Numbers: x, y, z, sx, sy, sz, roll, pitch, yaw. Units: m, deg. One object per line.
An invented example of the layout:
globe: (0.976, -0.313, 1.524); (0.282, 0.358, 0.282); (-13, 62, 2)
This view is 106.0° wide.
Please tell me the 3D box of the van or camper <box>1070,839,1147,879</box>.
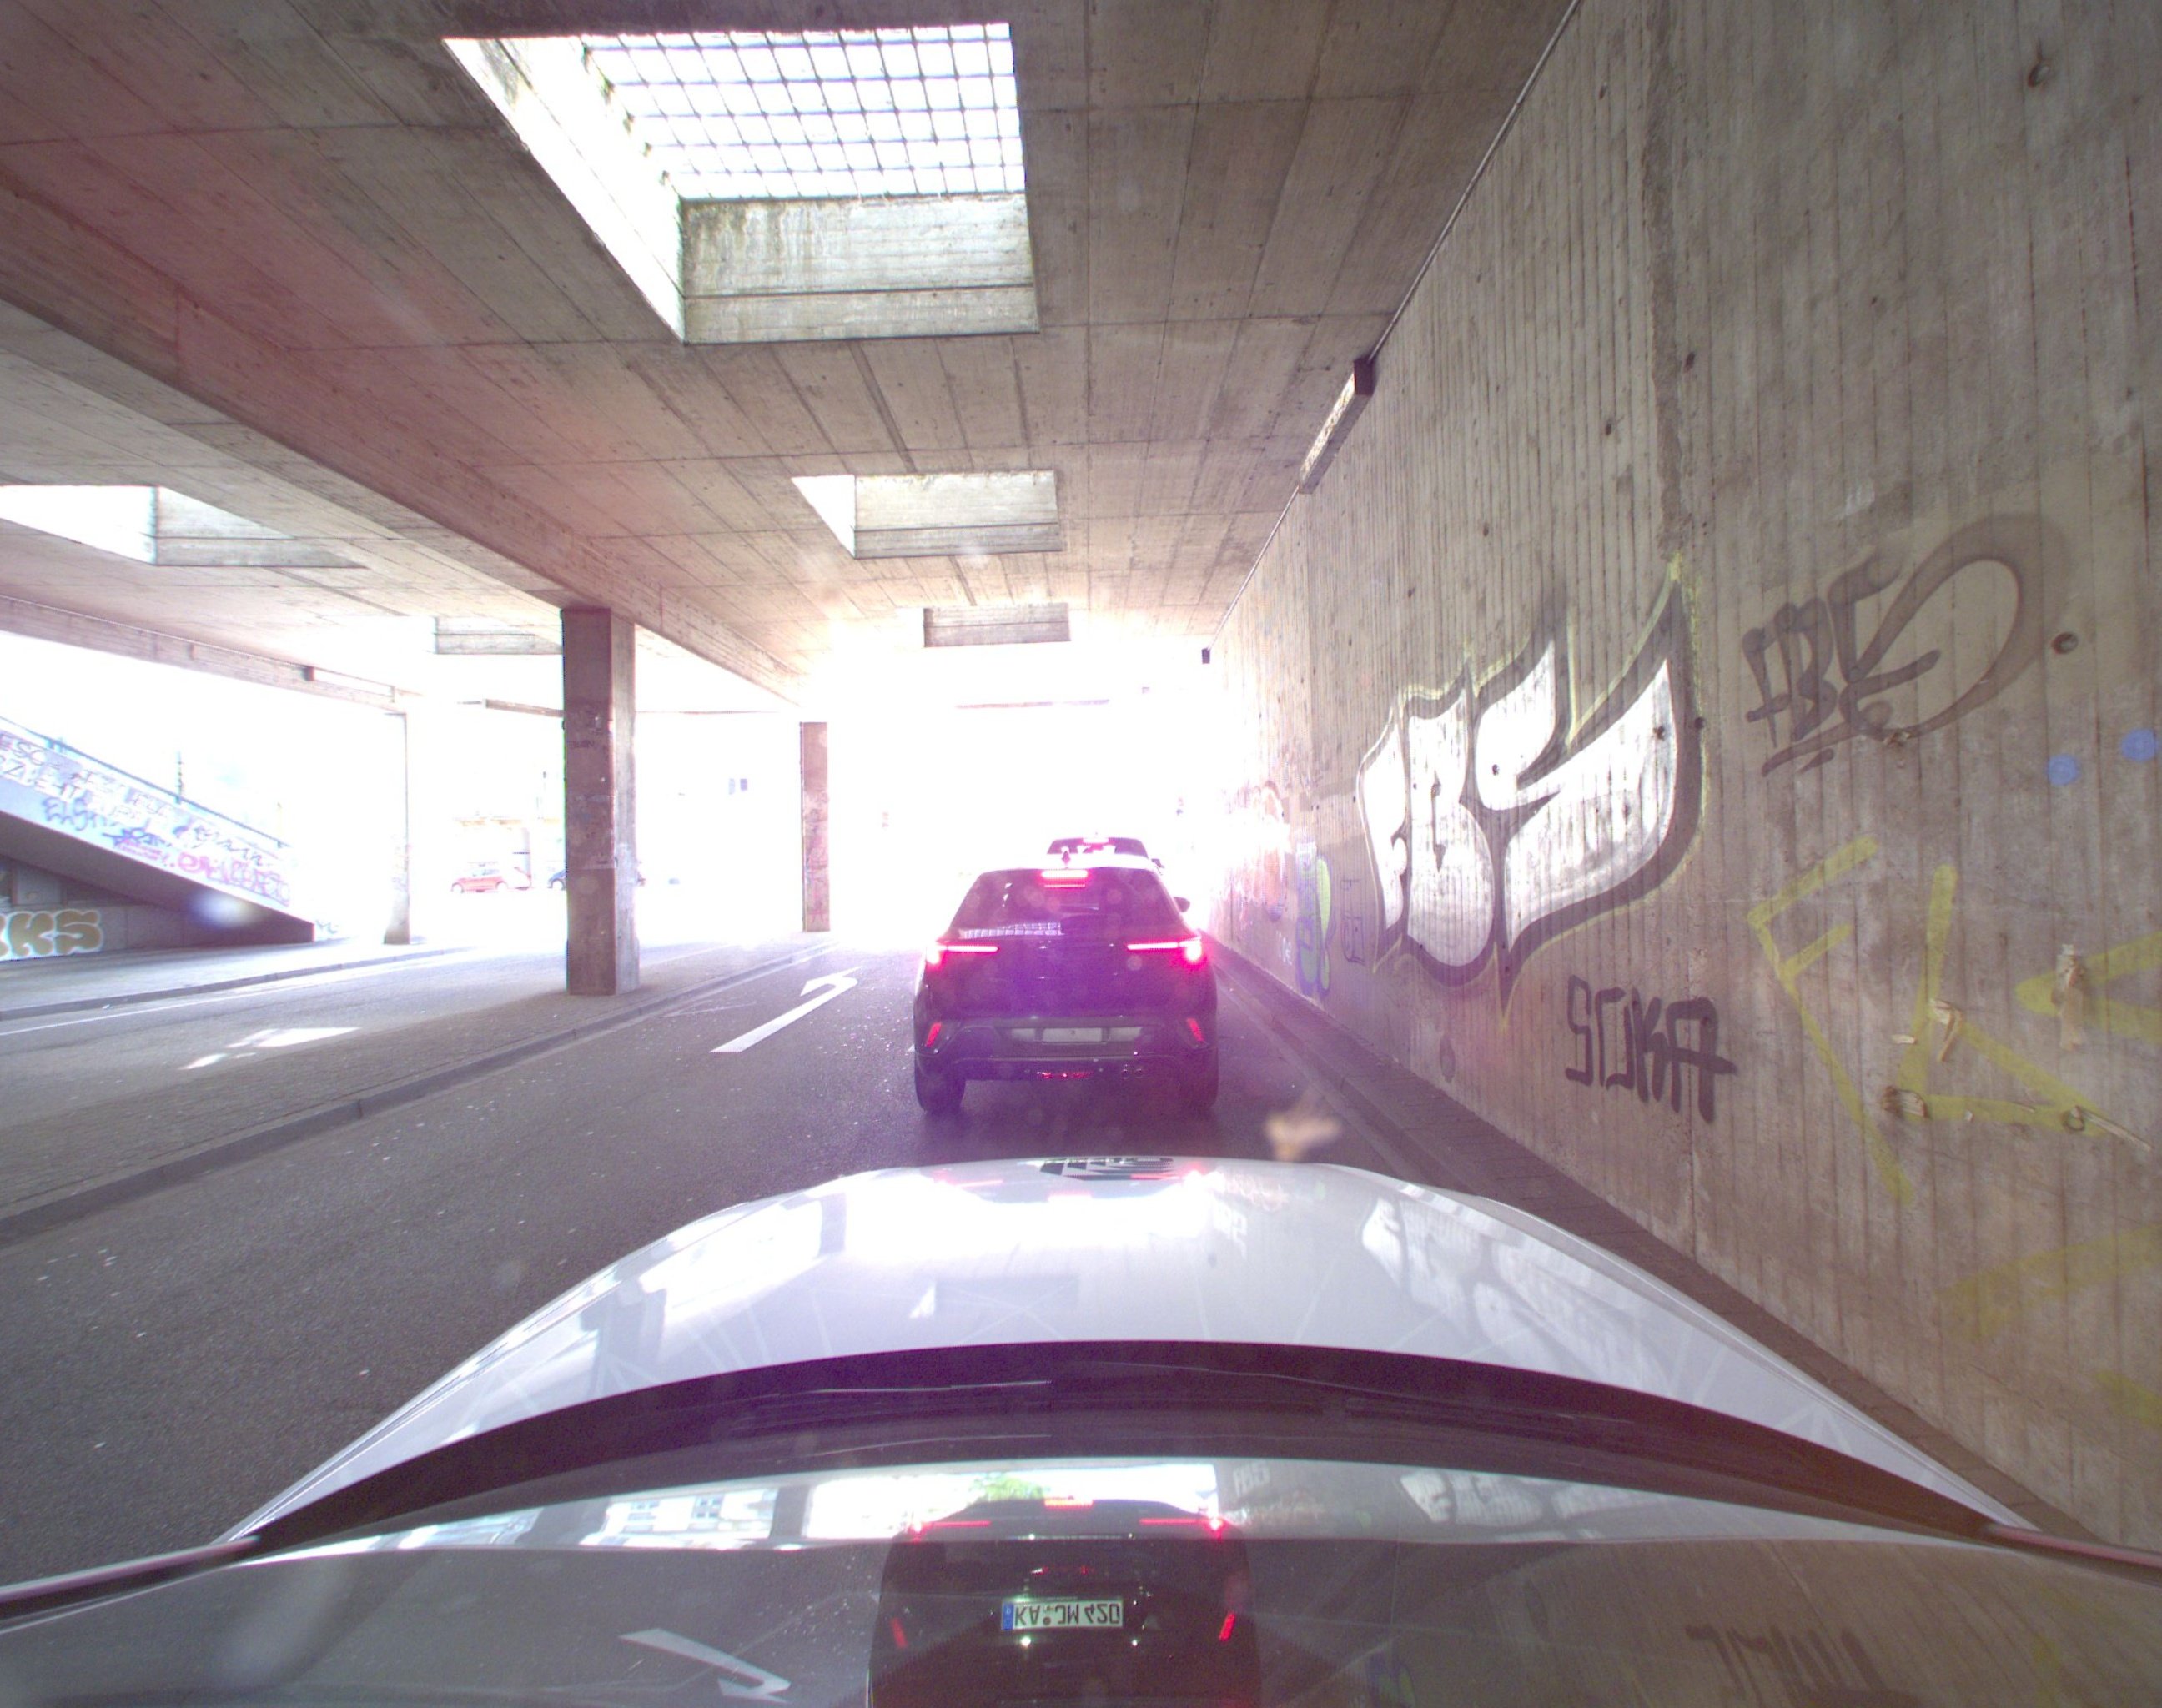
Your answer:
van or camper: (1.503, 0.282, 43.666); (3.854, 2.013, 2.005); (-2, 0, 9)

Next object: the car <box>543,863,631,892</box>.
car: (-27.393, 1.291, 45.255); (3.742, 1.508, 1.752); (-2, 0, 0)

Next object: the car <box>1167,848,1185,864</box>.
car: (10.546, 0.195, 90.102); (1.573, 1.640, 3.819); (-1, 0, 12)

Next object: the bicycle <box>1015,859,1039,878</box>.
bicycle: (-3.414, 0.899, 51.564); (0.730, 1.130, 2.036); (-2, 0, 19)

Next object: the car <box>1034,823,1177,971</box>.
car: (0.374, 0.540, 12.159); (1.779, 1.833, 3.962); (-1, 0, 2)

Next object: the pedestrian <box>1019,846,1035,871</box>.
pedestrian: (-3.398, 0.265, 51.651); (0.729, 1.585, 0.894); (0, -1, 18)

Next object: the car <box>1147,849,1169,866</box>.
car: (7.149, 0.325, 75.657); (1.588, 1.452, 3.807); (-1, 0, 11)

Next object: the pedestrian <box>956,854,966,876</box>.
pedestrian: (-9.584, 0.863, 65.113); (0.619, 1.705, 0.725); (0, -1, 11)

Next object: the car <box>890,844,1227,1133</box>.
car: (-0.042, 0.698, 6.241); (1.746, 1.498, 4.002); (0, 0, 2)

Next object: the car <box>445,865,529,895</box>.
car: (-32.852, 1.441, 45.100); (3.519, 1.506, 1.563); (-1, 0, 2)

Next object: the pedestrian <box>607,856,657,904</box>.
pedestrian: (-16.516, 0.946, 29.975); (1.103, 1.737, 1.146); (-1, 0, 15)
